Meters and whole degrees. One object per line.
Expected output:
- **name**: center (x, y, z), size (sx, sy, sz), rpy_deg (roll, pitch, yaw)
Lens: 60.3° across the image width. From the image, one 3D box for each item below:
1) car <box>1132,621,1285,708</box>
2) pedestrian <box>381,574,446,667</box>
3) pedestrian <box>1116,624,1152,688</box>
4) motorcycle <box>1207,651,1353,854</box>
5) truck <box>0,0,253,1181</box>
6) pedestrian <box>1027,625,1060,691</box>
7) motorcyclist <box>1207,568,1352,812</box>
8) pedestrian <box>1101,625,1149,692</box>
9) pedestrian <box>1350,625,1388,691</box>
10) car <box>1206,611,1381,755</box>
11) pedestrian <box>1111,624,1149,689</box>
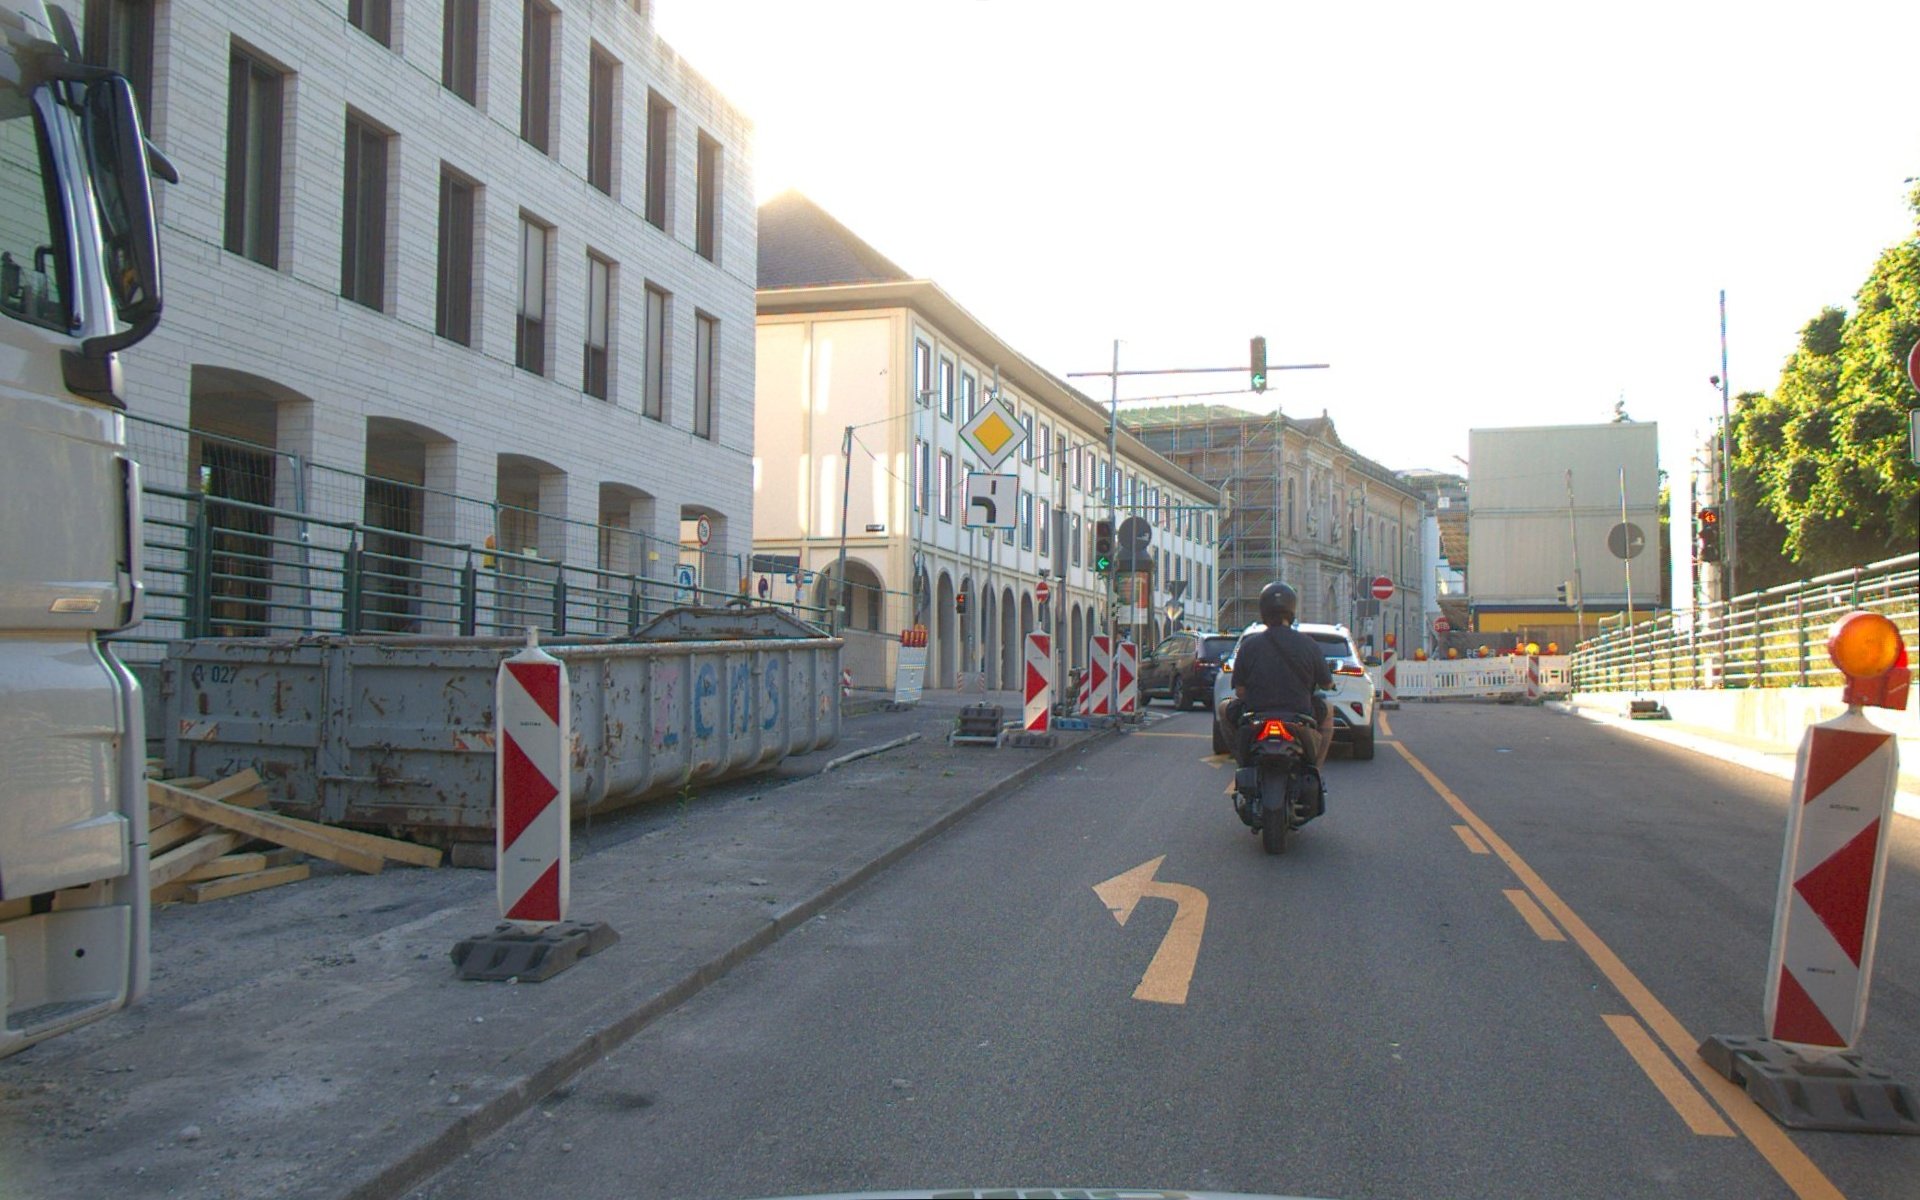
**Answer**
- **car**: center (4.764, 1.260, 32.275), size (1.742, 1.578, 4.095), rpy_deg (0, -2, -10)
- **pedestrian**: center (-9.229, 0.334, 27.947), size (0.656, 1.513, 0.799), rpy_deg (-3, 0, 14)
- **pedestrian**: center (5.006, 1.615, 47.498), size (0.918, 1.809, 0.712), rpy_deg (-1, 0, 15)
- **motorcycle**: center (2.242, 0.976, 11.503), size (0.886, 1.204, 2.581), rpy_deg (0, -1, 12)
- **truck**: center (-3.974, -0.328, 2.269), size (2.524, 3.550, 5.820), rpy_deg (-4, -1, 11)
- **pedestrian**: center (2.350, 1.623, 46.530), size (0.756, 1.833, 0.712), rpy_deg (-1, 0, 15)
- **motorcyclist**: center (2.224, 0.596, 11.472), size (0.933, 1.587, 1.240), rpy_deg (0, -1, 12)
- **pedestrian**: center (4.585, 1.617, 45.993), size (1.216, 1.833, 0.717), rpy_deg (-1, 0, 15)
- **pedestrian**: center (11.229, 1.595, 45.395), size (0.953, 1.759, 0.799), rpy_deg (-2, -4, 15)
- **car**: center (4.017, 0.966, 19.764), size (1.819, 1.498, 4.003), rpy_deg (1, -2, 13)
- **pedestrian**: center (4.803, 1.587, 46.715), size (0.918, 1.809, 0.712), rpy_deg (-1, 0, 15)
